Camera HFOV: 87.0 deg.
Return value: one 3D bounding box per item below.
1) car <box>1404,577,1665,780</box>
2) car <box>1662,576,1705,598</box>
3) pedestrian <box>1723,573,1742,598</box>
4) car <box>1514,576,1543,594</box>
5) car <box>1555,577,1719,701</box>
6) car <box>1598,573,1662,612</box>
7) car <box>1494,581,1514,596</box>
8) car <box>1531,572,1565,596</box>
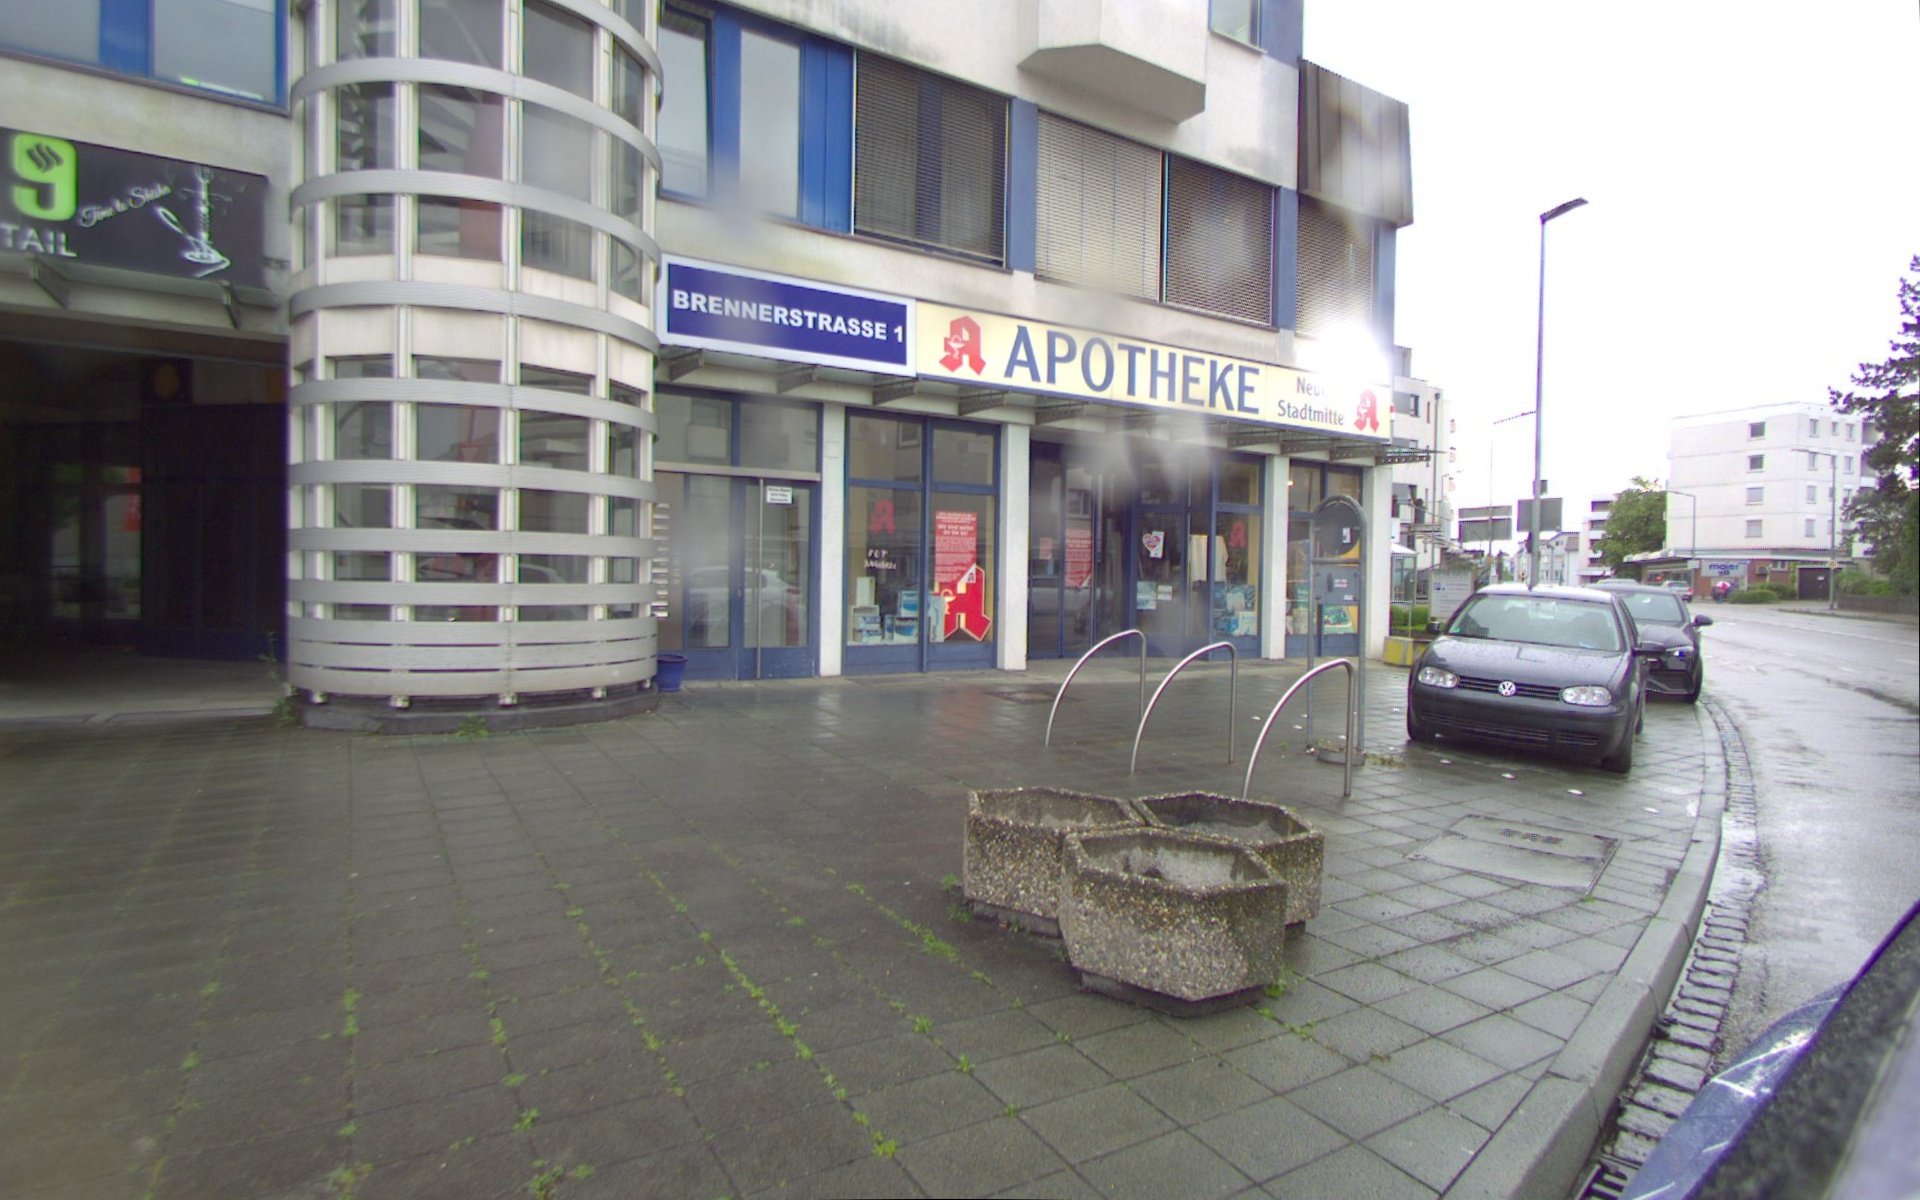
[{"bbox_3d":[5.469,0.538,9.413,1.646,1.388,3.683,5,4,36],"label":"car"},{"bbox_3d":[49.623,-0.918,69.485,1.855,1.454,3.704,1,2,28],"label":"car"},{"bbox_3d":[54.821,-1.015,71.834,0.845,1.757,0.831,1,2,20],"label":"pedestrian"},{"bbox_3d":[48.955,-1.326,87.216,1.783,1.385,3.941,1,3,25],"label":"car"},{"bbox_3d":[9.425,0.416,14.031,1.650,1.442,3.949,2,2,36],"label":"car"},{"bbox_3d":[26.911,-0.355,40.775,1.719,1.462,4.009,0,2,27],"label":"car"},{"bbox_3d":[60.256,-1.310,112.127,1.982,1.635,3.961,-1,1,28],"label":"car"},{"bbox_3d":[39.137,-1.072,67.450,1.718,1.547,4.024,1,1,27],"label":"car"}]
